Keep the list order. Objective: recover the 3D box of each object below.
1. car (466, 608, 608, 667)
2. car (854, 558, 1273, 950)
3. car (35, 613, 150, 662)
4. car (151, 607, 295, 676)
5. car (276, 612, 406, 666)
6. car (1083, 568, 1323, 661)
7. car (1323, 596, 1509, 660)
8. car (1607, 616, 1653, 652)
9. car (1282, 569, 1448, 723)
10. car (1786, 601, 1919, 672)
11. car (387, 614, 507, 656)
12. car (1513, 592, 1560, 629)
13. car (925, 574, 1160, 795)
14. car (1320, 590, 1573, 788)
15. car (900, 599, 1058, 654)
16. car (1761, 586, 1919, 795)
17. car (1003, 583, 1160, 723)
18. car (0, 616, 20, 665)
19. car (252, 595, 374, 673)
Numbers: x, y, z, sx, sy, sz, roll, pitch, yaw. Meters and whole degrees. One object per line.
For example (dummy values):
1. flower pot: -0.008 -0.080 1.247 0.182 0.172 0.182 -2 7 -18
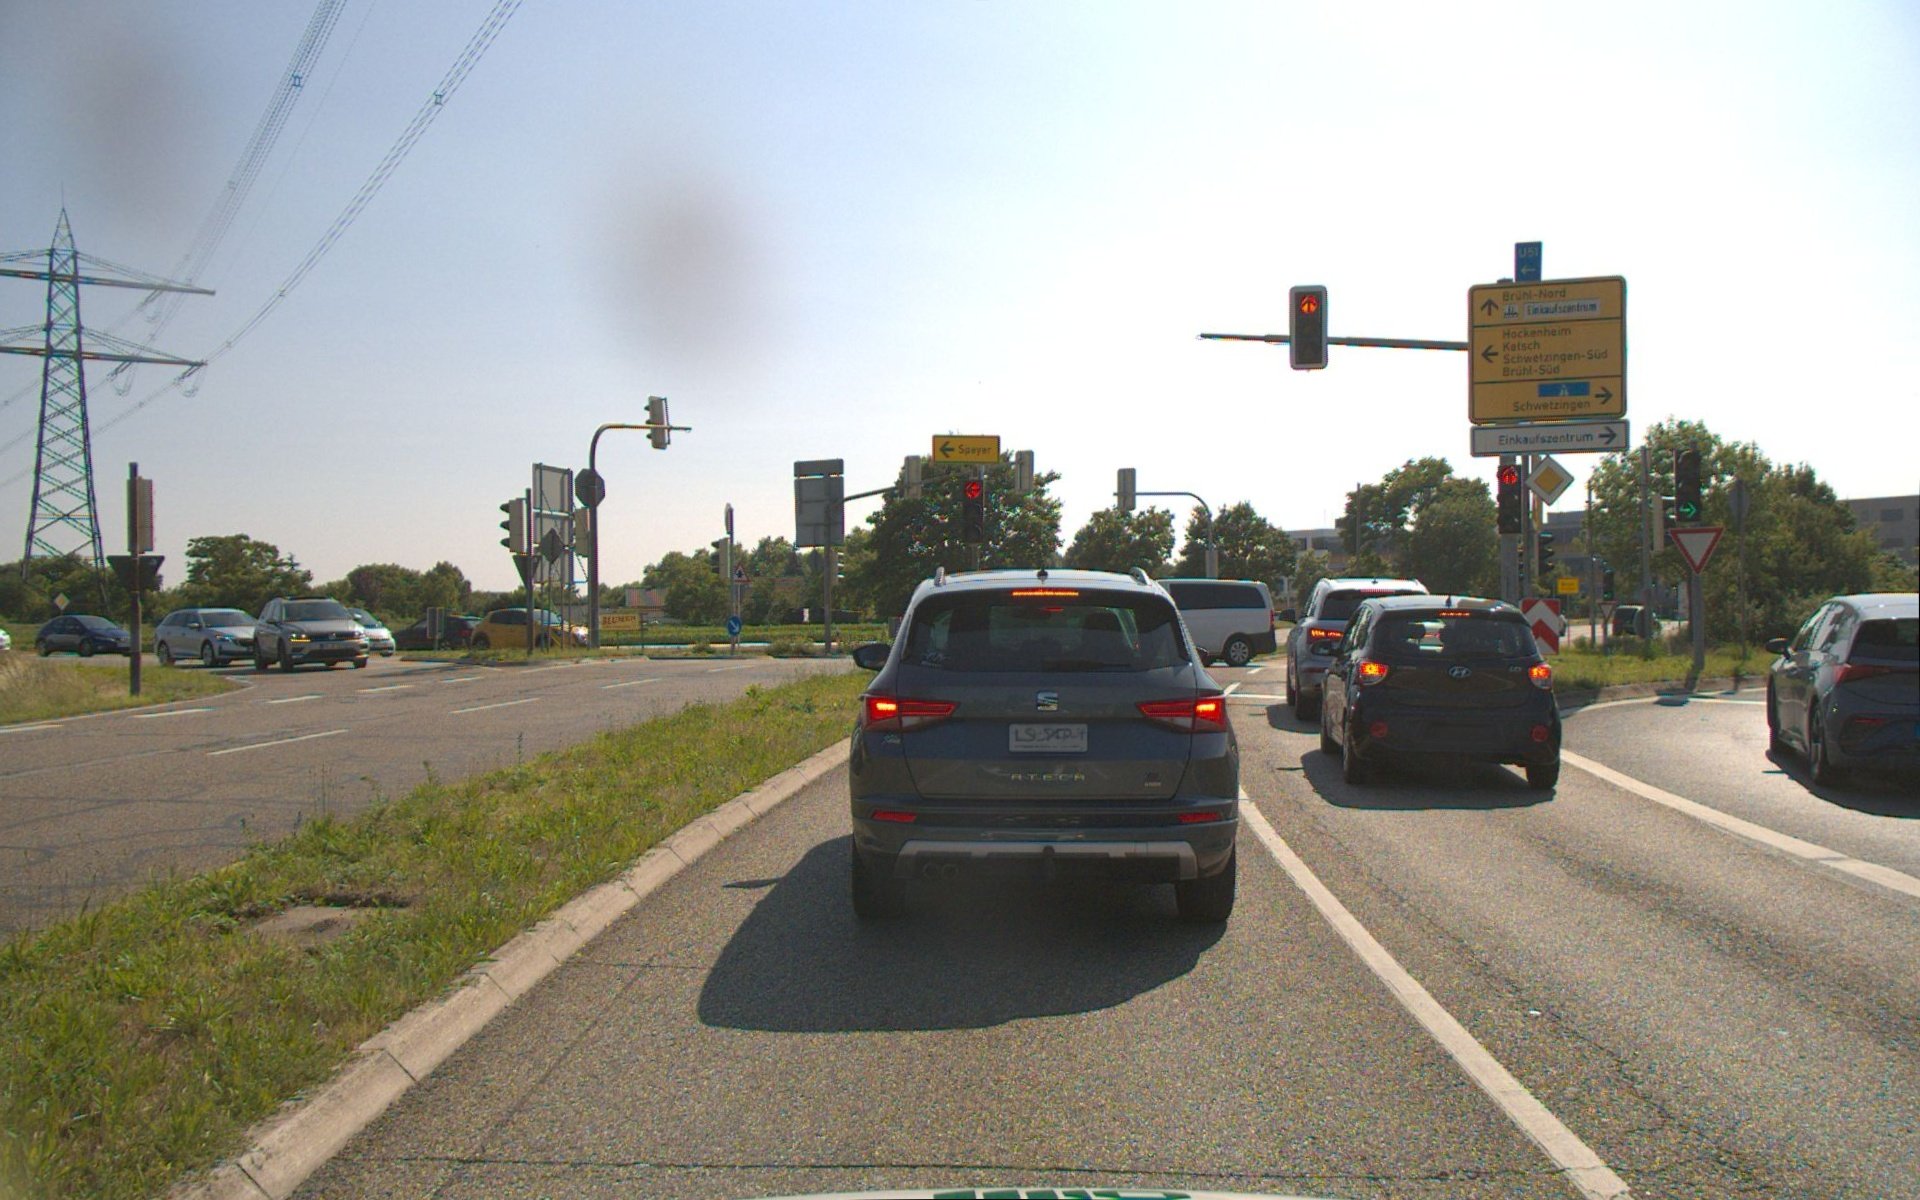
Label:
1. car: -12.451 1.080 48.654 3.911 1.680 1.817 -1 0 29
2. car: 0.451 0.628 8.574 1.706 1.596 3.624 0 0 1
3. car: -30.960 1.331 59.030 3.911 1.680 1.817 -1 0 29
4. car: -19.062 1.049 42.741 3.923 1.680 1.812 -1 0 38
5. car: -19.898 1.236 53.140 3.911 1.680 1.817 -1 0 29
6. car: 5.334 0.312 36.362 4.854 1.951 1.990 0 1 -18
7. car: 11.488 0.686 41.689 4.237 1.545 1.806 -1 0 27
8. car: 34.019 1.708 83.928 1.840 1.702 3.766 1 0 26
9. car: 4.917 0.514 20.482 1.598 1.706 3.752 1 0 8
10. car: 20.536 0.794 36.856 3.792 1.545 1.806 -1 0 27
11. car: -18.153 1.234 58.490 4.011 1.441 1.714 -1 0 28
12. car: 29.992 0.536 85.978 1.684 1.851 3.770 1 0 29
13. car: 0.667 0.627 14.024 1.706 1.596 3.625 1 0 2
14. car: 4.050 0.667 14.219 1.598 1.473 3.297 1 0 8
15. car: 0.532 0.768 48.033 4.237 1.545 1.806 -1 0 27
16. car: 8.206 0.677 14.356 1.736 1.544 4.101 1 1 19
17. car: 1.540 0.590 20.162 1.705 1.510 3.626 1 0 6
18. car: -34.860 1.394 57.314 4.656 1.680 1.817 -1 0 29
19. car: -14.857 0.749 37.862 1.799 1.680 3.952 0 0 -34
